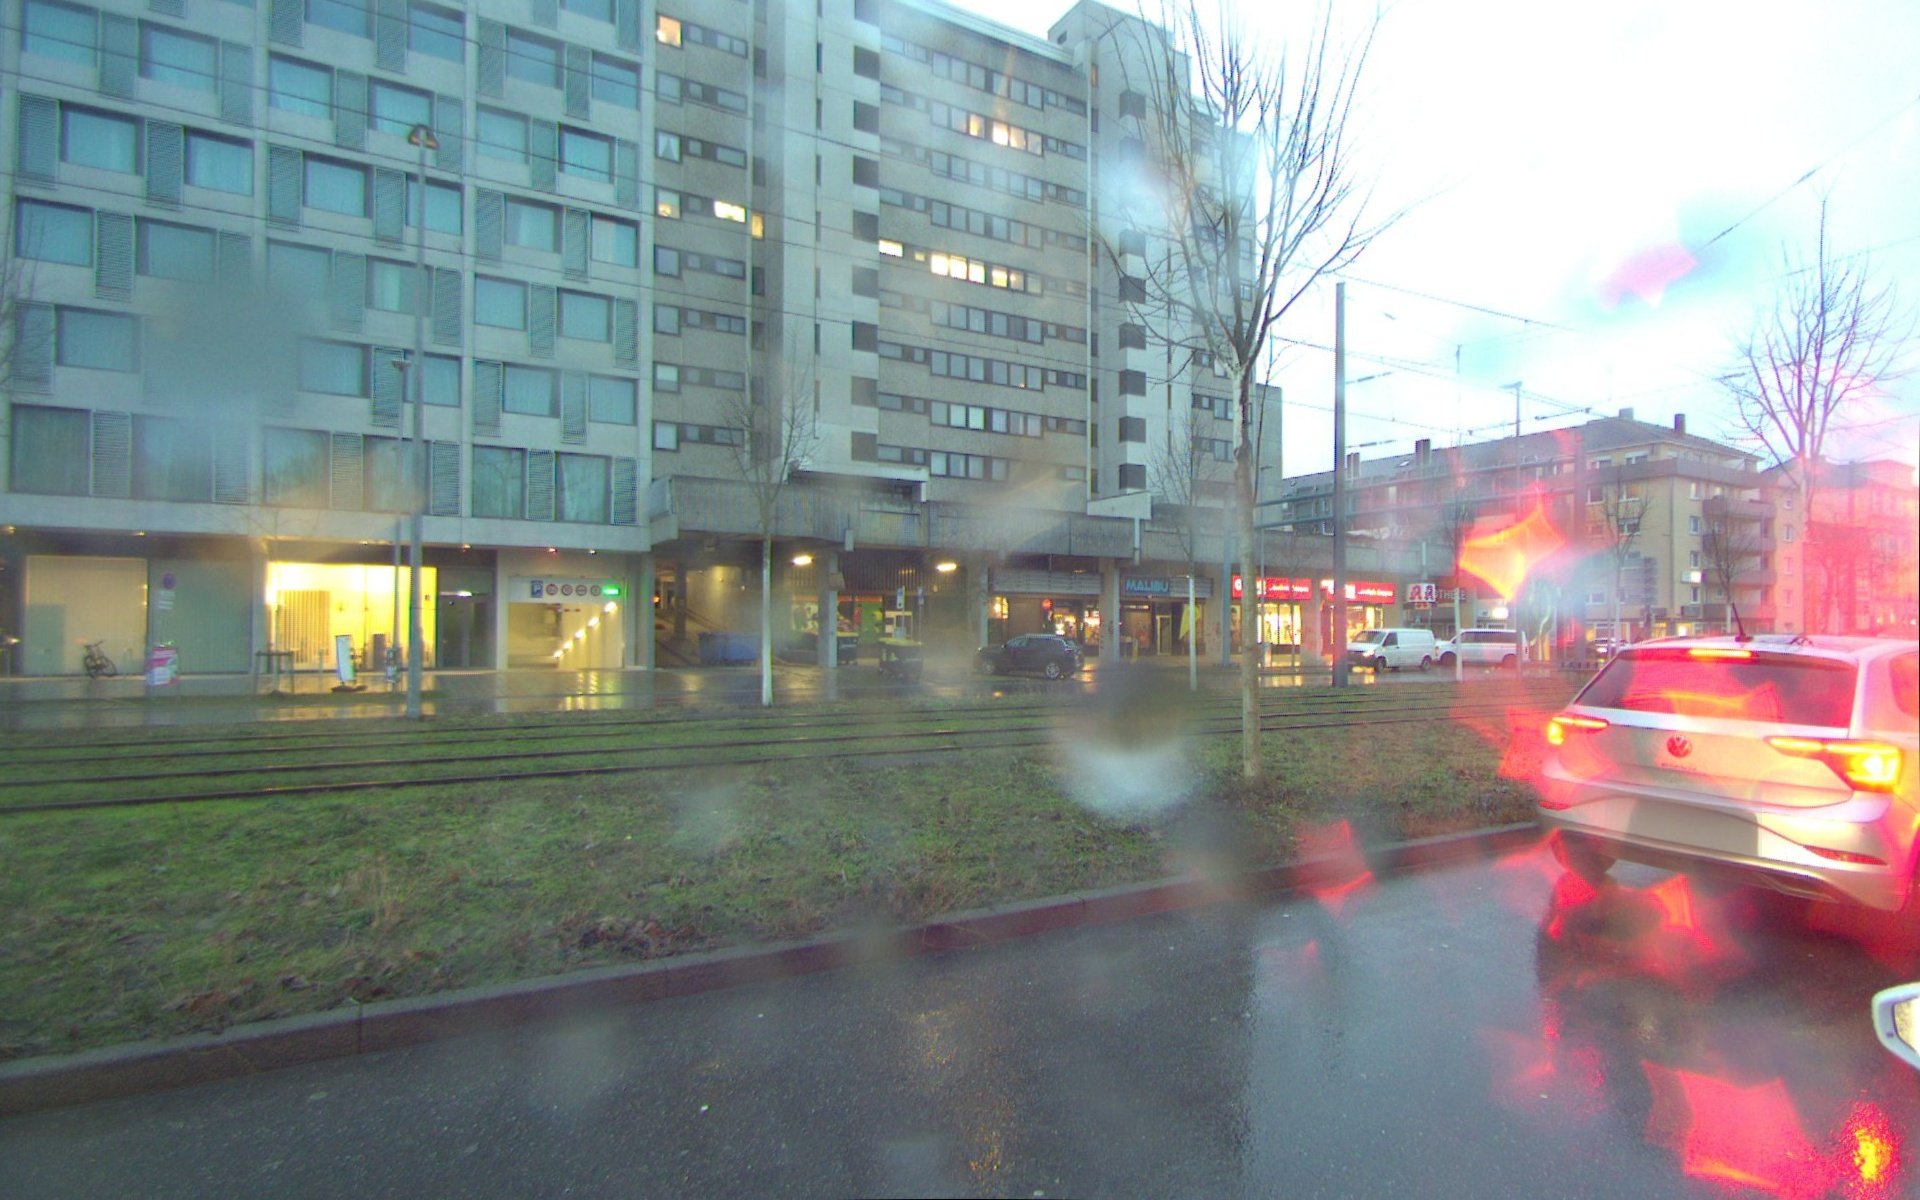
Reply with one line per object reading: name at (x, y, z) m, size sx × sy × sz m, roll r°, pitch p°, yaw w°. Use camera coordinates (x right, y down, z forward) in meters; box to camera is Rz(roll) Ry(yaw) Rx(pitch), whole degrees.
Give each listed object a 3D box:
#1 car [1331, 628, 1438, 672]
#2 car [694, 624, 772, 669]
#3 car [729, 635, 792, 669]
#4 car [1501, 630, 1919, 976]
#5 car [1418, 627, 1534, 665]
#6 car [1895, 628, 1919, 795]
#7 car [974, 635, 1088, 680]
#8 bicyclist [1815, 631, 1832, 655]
car at (19.962, 2.322, 47.198) m, size 5.103 × 1.937 × 1.984 m, roll 1°, pitch -2°, yaw -30°
car at (-9.126, 1.808, 40.183) m, size 1.709 × 1.718 × 4.336 m, roll 1°, pitch -2°, yaw -32°
car at (-8.732, 2.227, 43.762) m, size 1.580 × 1.377 × 3.411 m, roll 1°, pitch -2°, yaw -32°
car at (5.195, 0.919, 5.964) m, size 3.936 × 1.389 × 1.753 m, roll 2°, pitch -1°, yaw -31°
car at (27.077, 2.423, 52.893) m, size 5.059 × 1.937 × 2.001 m, roll 0°, pitch -2°, yaw 15°
car at (10.557, 1.015, 9.145) m, size 4.562 × 1.424 × 1.837 m, roll 2°, pitch -1°, yaw -31°
car at (2.724, 2.172, 38.480) m, size 3.925 × 1.405 × 1.935 m, roll 2°, pitch 0°, yaw 25°
bicyclist at (60.271, 3.007, 70.077) m, size 0.777 × 1.600 × 0.636 m, roll 1°, pitch 0°, yaw 31°
